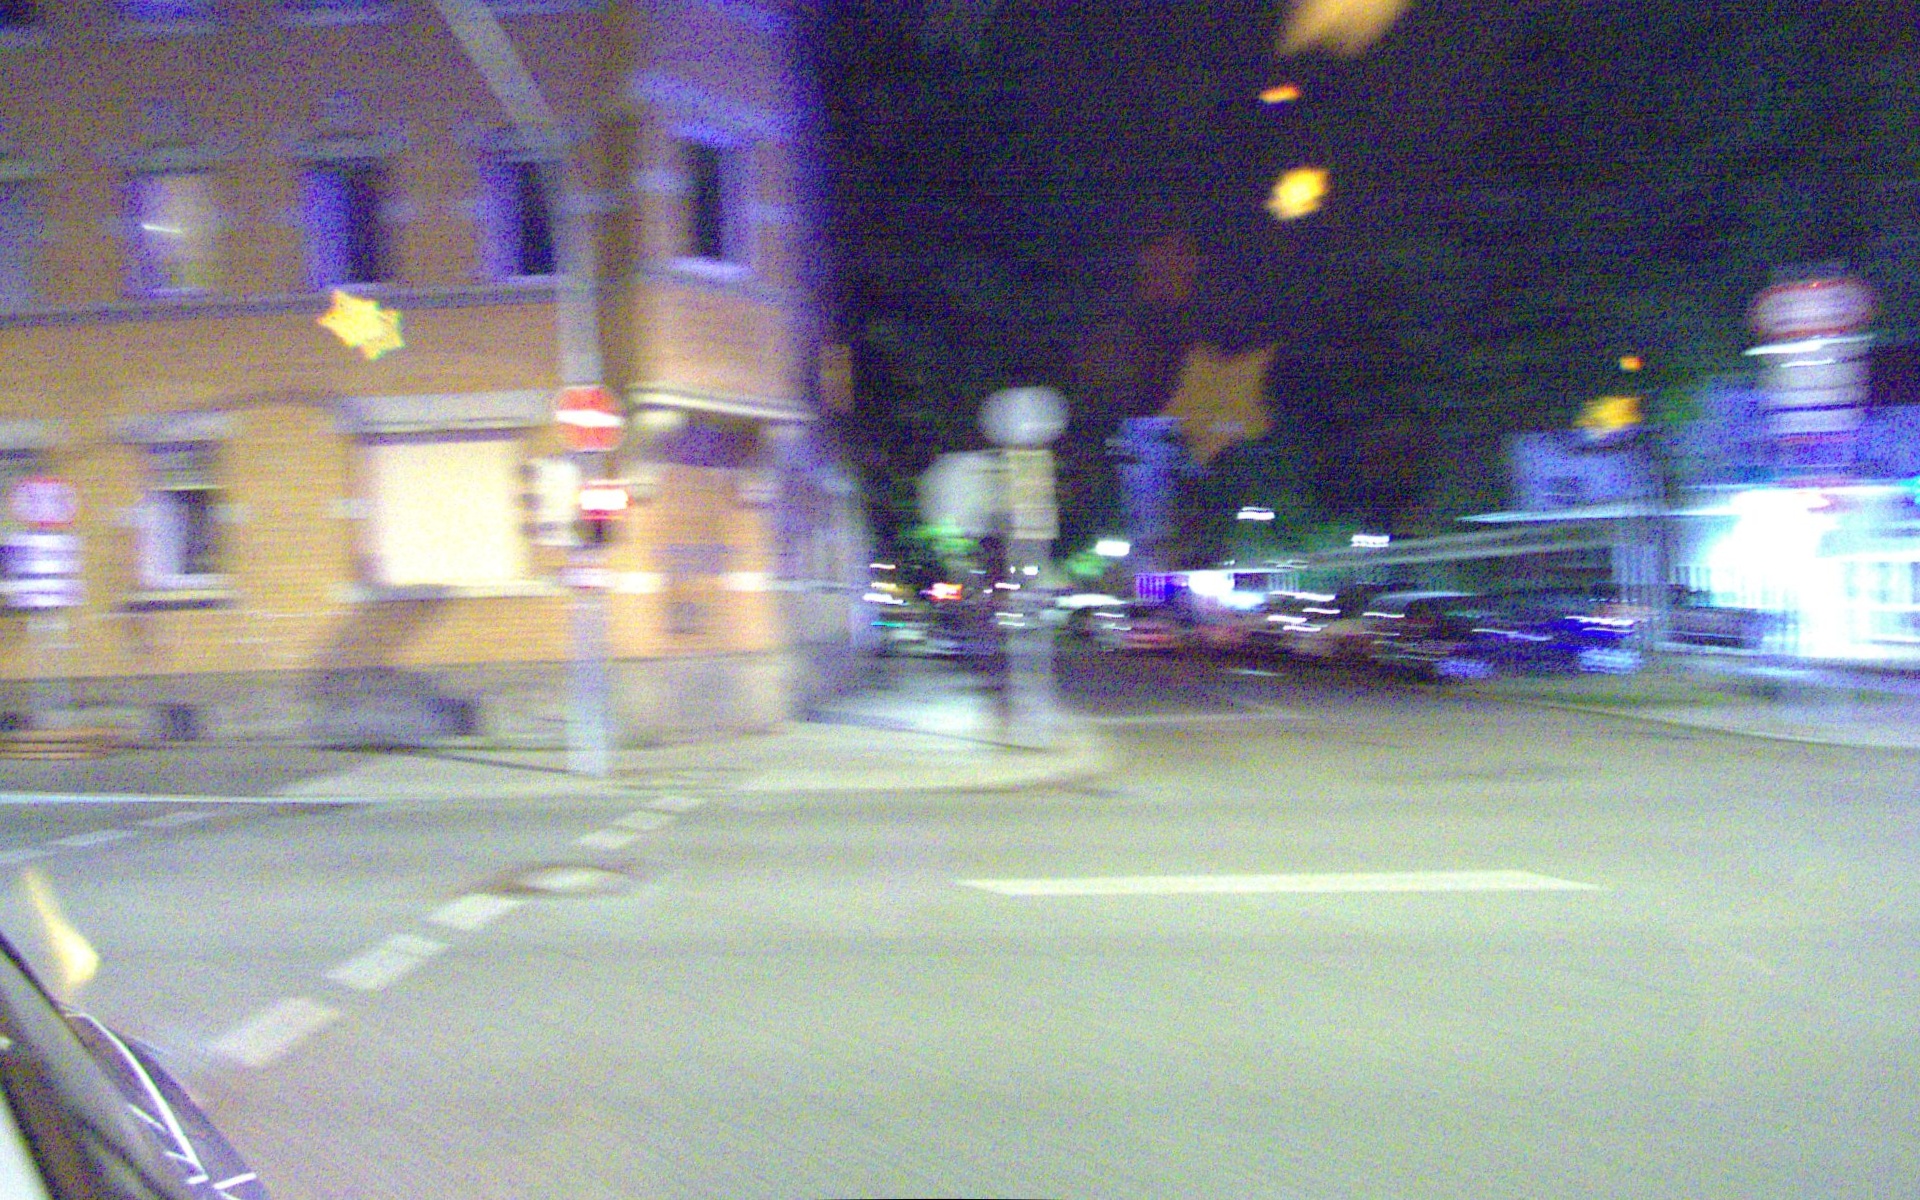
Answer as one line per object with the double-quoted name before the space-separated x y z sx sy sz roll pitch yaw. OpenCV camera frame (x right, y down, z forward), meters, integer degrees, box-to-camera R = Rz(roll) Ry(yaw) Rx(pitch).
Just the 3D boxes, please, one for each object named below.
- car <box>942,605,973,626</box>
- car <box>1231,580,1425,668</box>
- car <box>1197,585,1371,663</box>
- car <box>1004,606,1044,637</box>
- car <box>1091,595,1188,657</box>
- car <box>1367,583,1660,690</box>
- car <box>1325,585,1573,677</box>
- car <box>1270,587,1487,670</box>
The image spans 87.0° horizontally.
"car" -0.211 1.285 83.836 1.968 1.646 4.007 -1 0 -8
"car" 8.968 0.565 24.911 3.942 1.960 2.001 -2 0 -2
"car" 8.630 0.618 27.187 3.942 1.900 2.001 -2 0 -2
"car" 3.556 1.173 56.731 1.972 1.646 3.999 -1 0 0
"car" 5.537 0.771 31.772 1.969 1.795 4.005 -1 0 -5
"car" 9.513 0.588 17.642 3.942 1.634 2.001 -2 0 -2
"car" 9.721 0.584 20.352 3.942 1.634 2.001 -2 0 -2
"car" 9.263 0.599 22.615 3.942 1.634 2.001 -2 0 -2
